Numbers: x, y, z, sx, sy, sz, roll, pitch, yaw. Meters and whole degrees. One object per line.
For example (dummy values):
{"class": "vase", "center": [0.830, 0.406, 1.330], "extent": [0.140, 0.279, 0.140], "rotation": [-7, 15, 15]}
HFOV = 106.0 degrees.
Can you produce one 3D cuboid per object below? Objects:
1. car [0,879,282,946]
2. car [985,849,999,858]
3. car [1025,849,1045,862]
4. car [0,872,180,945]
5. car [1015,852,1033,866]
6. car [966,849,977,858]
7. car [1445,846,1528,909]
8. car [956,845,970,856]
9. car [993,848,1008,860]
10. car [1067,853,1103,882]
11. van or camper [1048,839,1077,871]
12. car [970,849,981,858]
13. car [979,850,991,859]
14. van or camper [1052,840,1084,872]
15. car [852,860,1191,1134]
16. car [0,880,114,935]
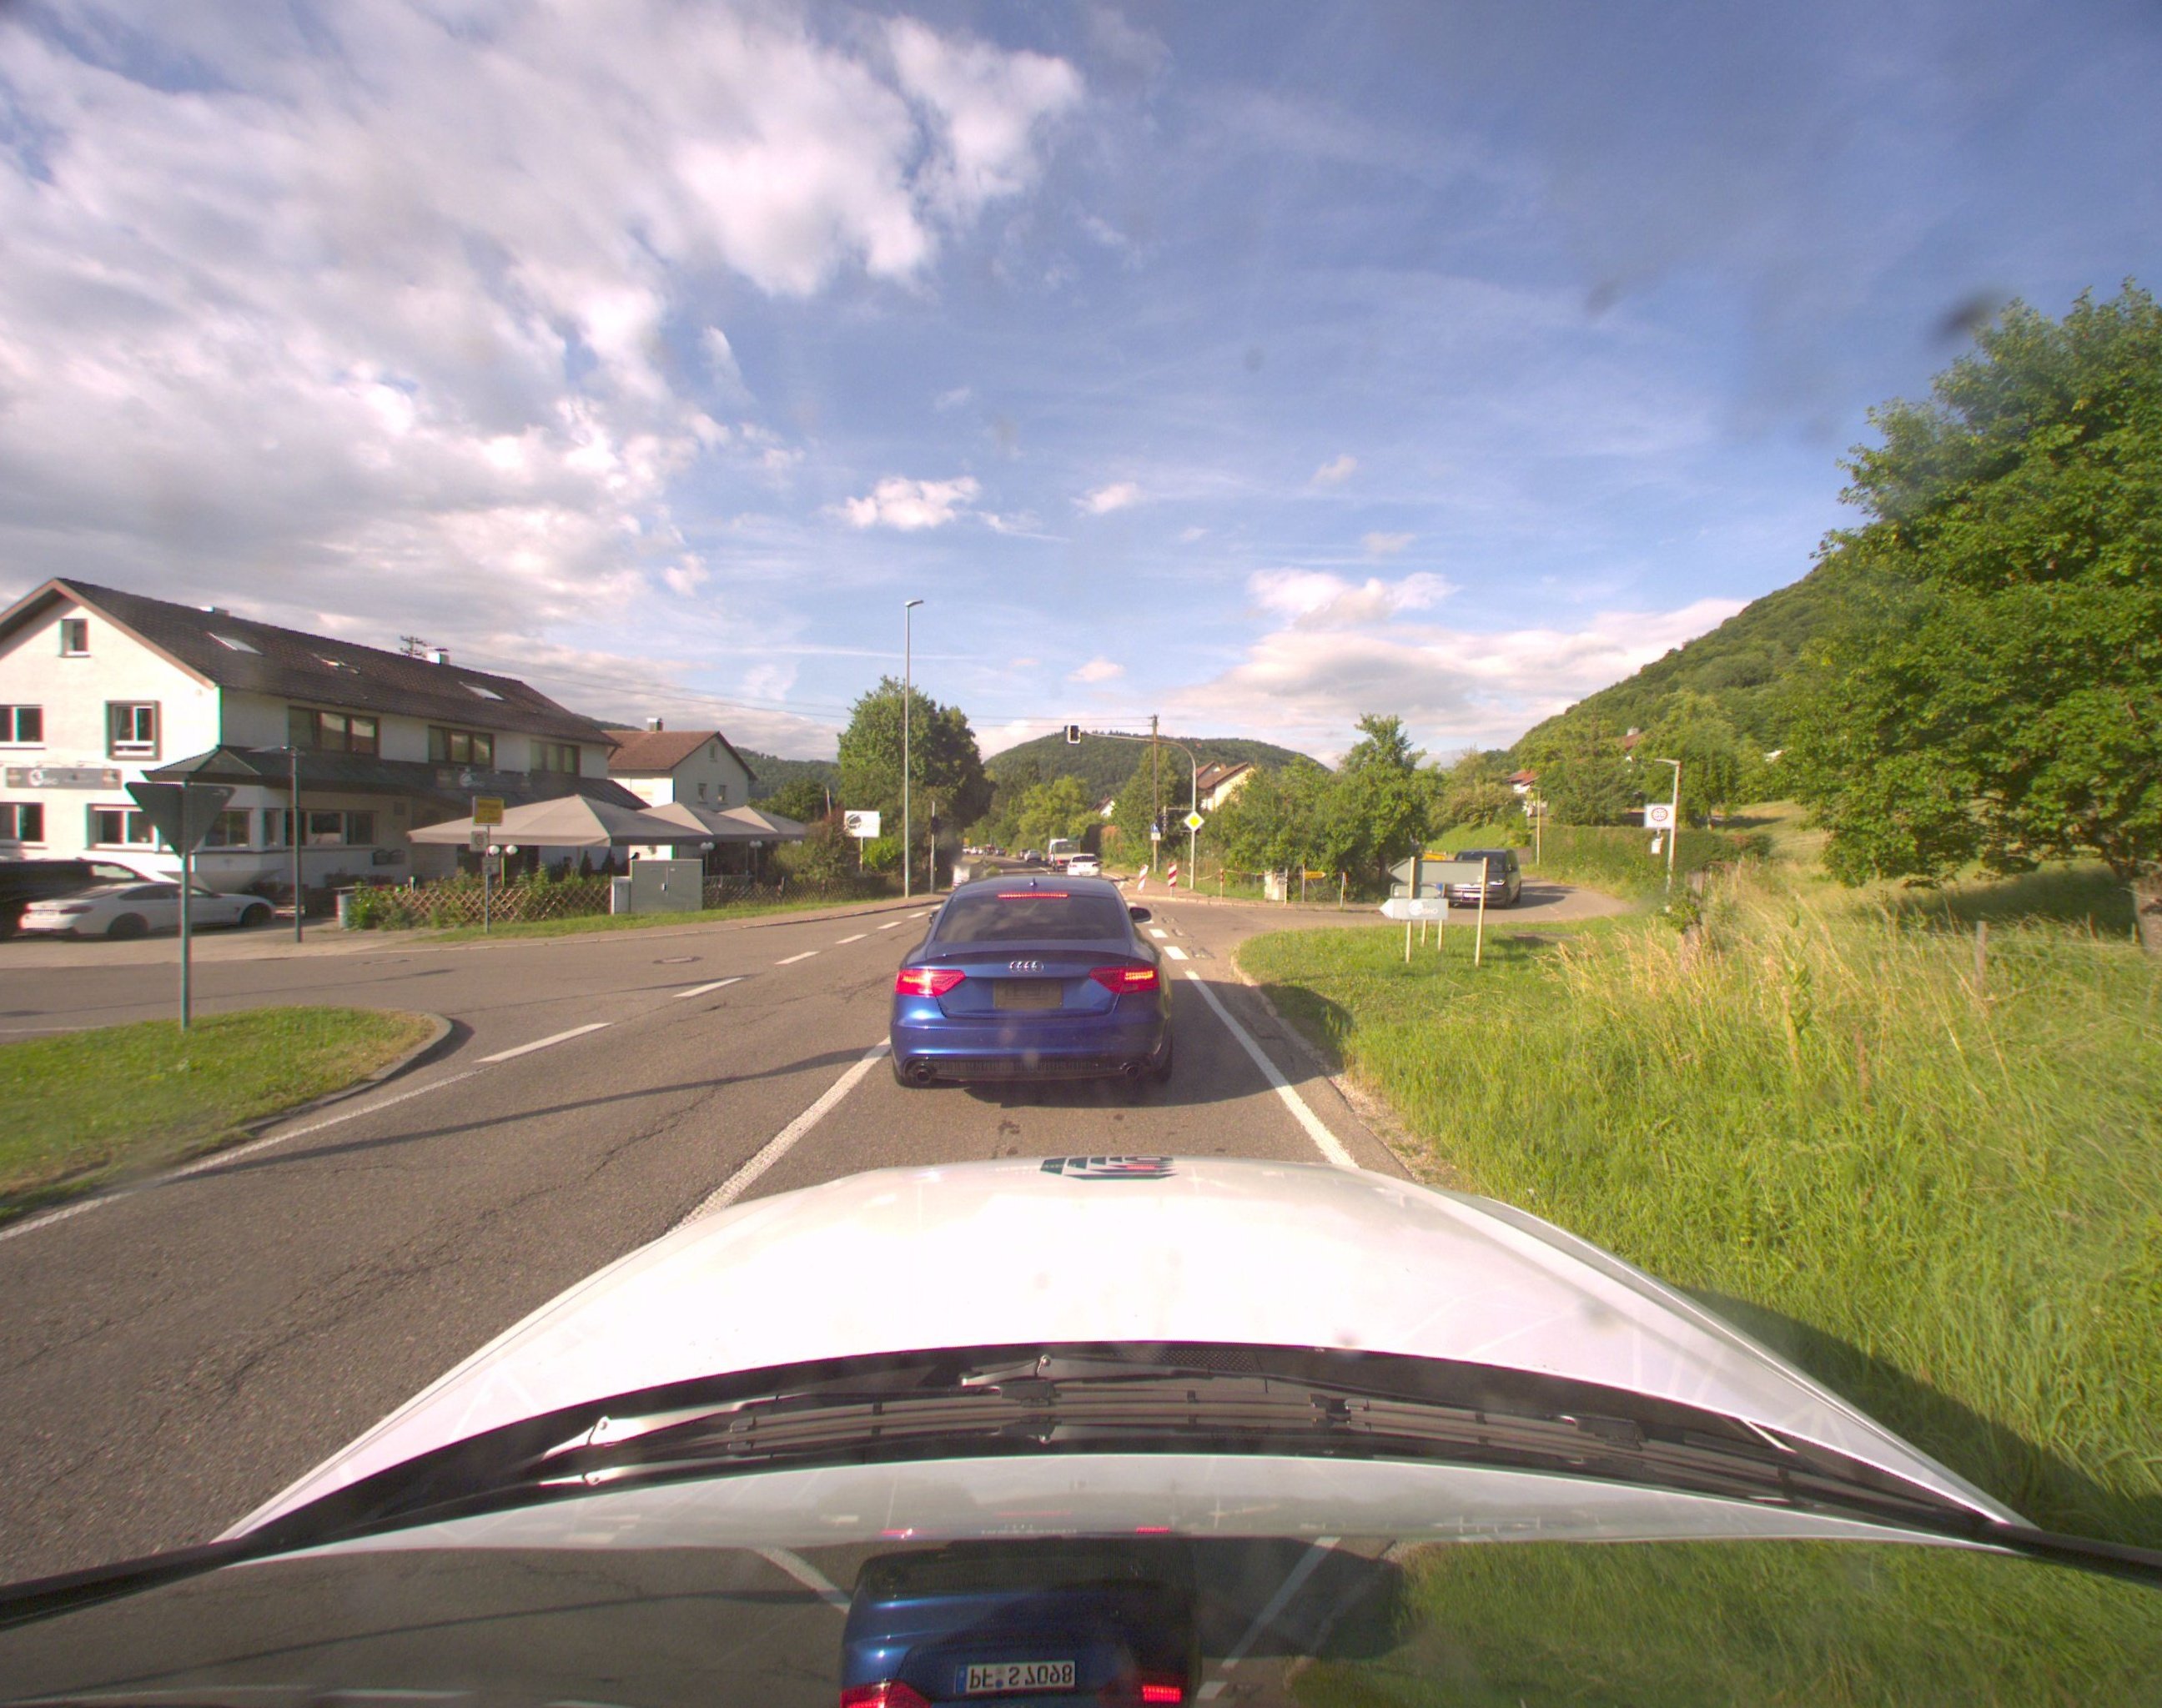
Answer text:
{"class": "car", "center": [-24.639, 1.473, 21.683], "extent": [1.984, 1.389, 4.582], "rotation": [-2, 0, 5]}
{"class": "car", "center": [-16.252, -0.116, 148.619], "extent": [2.043, 1.684, 3.982], "rotation": [-1, 1, -13]}
{"class": "car", "center": [-5.697, 0.159, 100.214], "extent": [1.820, 1.552, 3.984], "rotation": [-1, 0, -11]}
{"class": "car", "center": [-27.339, 1.405, 21.413], "extent": [1.984, 1.685, 4.582], "rotation": [-2, 0, 5]}
{"class": "car", "center": [-7.839, 0.654, 111.930], "extent": [1.798, 1.794, 3.983], "rotation": [-1, 0, -12]}
{"class": "car", "center": [-23.084, -0.104, 171.586], "extent": [1.774, 1.783, 3.982], "rotation": [-1, 0, -13]}
{"class": "car", "center": [13.677, 0.694, 27.296], "extent": [1.974, 1.876, 4.901], "rotation": [2, 1, 32]}
{"class": "car", "center": [-22.703, -0.662, 156.359], "extent": [1.997, 1.903, 5.226], "rotation": [-2, 1, -15]}
{"class": "car", "center": [-13.694, -0.077, 138.722], "extent": [1.995, 2.013, 3.983], "rotation": [-1, 0, -12]}
{"class": "car", "center": [0.236, 0.691, 42.727], "extent": [1.765, 1.415, 4.174], "rotation": [1, 0, 0]}
{"class": "van or camper", "center": [-1.839, 0.077, 77.678], "extent": [2.410, 2.904, 6.122], "rotation": [-1, 0, -4]}
{"class": "car", "center": [-21.536, -0.191, 165.865], "extent": [1.751, 1.783, 3.982], "rotation": [-1, 0, -13]}
{"class": "car", "center": [-18.581, 0.073, 157.205], "extent": [1.944, 1.684, 3.982], "rotation": [-2, 0, -13]}
{"class": "van or camper", "center": [-1.096, 0.146, 63.583], "extent": [2.176, 2.385, 5.362], "rotation": [-1, 0, -4]}
{"class": "car", "center": [-0.313, 0.798, 6.592], "extent": [1.824, 1.409, 4.226], "rotation": [-2, 0, 0]}
{"class": "car", "center": [-30.400, 1.535, 22.367], "extent": [1.984, 1.389, 4.582], "rotation": [-2, 0, 5]}
